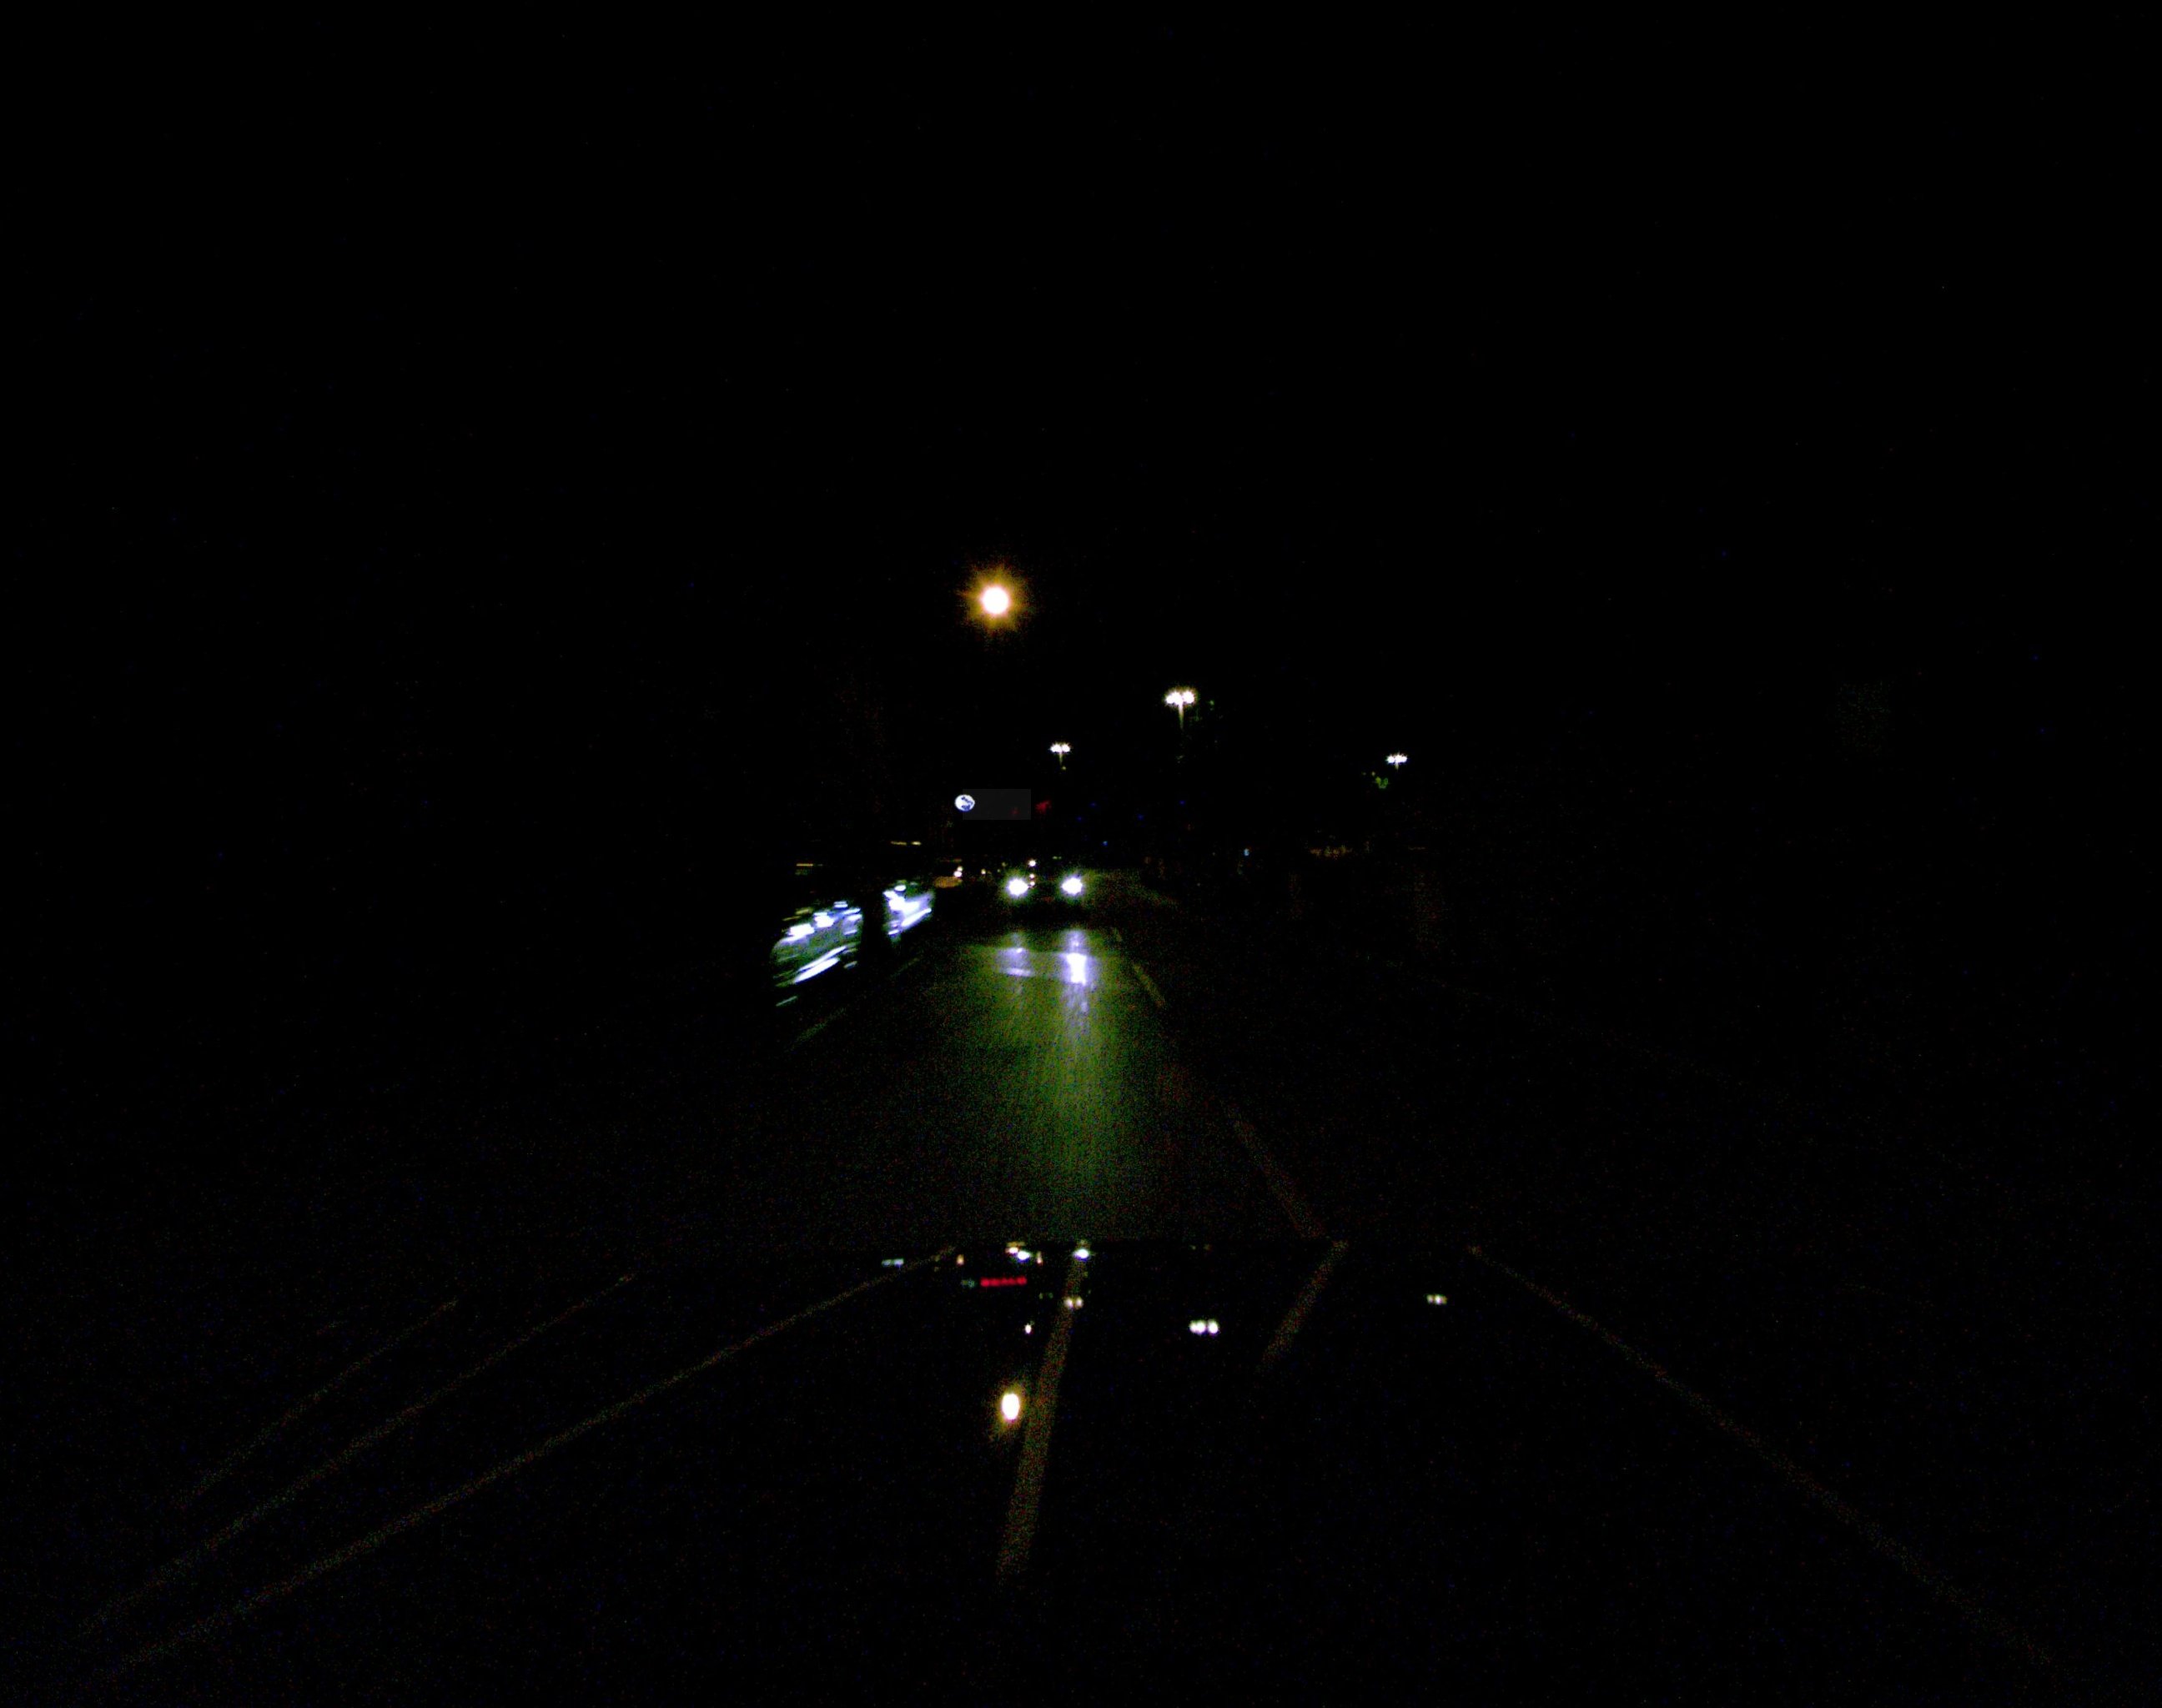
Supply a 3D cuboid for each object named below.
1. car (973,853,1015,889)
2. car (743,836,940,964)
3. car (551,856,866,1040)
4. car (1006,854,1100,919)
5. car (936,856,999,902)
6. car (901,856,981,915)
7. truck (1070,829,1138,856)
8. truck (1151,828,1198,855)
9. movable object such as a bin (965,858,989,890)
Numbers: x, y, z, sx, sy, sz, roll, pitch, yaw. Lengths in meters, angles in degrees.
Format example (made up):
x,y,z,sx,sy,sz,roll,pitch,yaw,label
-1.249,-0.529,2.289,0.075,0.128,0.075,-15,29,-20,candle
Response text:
x,y,z,sx,sy,sz,roll,pitch,yaw,label
-4.366,0.807,38.810,1.748,1.673,4.257,1,1,-2,car
-4.118,0.672,14.176,2.077,1.917,5.369,1,1,-1,car
-3.999,0.873,9.057,1.824,1.590,4.218,2,1,-3,car
-0.658,0.809,21.010,1.997,1.607,4.002,0,0,6,car
-4.165,0.865,28.498,1.748,1.500,4.832,1,1,-2,car
-4.166,0.876,23.243,1.748,1.556,4.209,1,1,-2,car
3.236,-1.604,107.142,9.341,3.701,2.002,-1,1,15,truck
13.017,-1.712,105.318,6.196,3.673,2.403,-1,1,12,truck
-4.738,0.908,34.686,0.940,1.424,1.338,1,1,-4,movable object such as a bin
